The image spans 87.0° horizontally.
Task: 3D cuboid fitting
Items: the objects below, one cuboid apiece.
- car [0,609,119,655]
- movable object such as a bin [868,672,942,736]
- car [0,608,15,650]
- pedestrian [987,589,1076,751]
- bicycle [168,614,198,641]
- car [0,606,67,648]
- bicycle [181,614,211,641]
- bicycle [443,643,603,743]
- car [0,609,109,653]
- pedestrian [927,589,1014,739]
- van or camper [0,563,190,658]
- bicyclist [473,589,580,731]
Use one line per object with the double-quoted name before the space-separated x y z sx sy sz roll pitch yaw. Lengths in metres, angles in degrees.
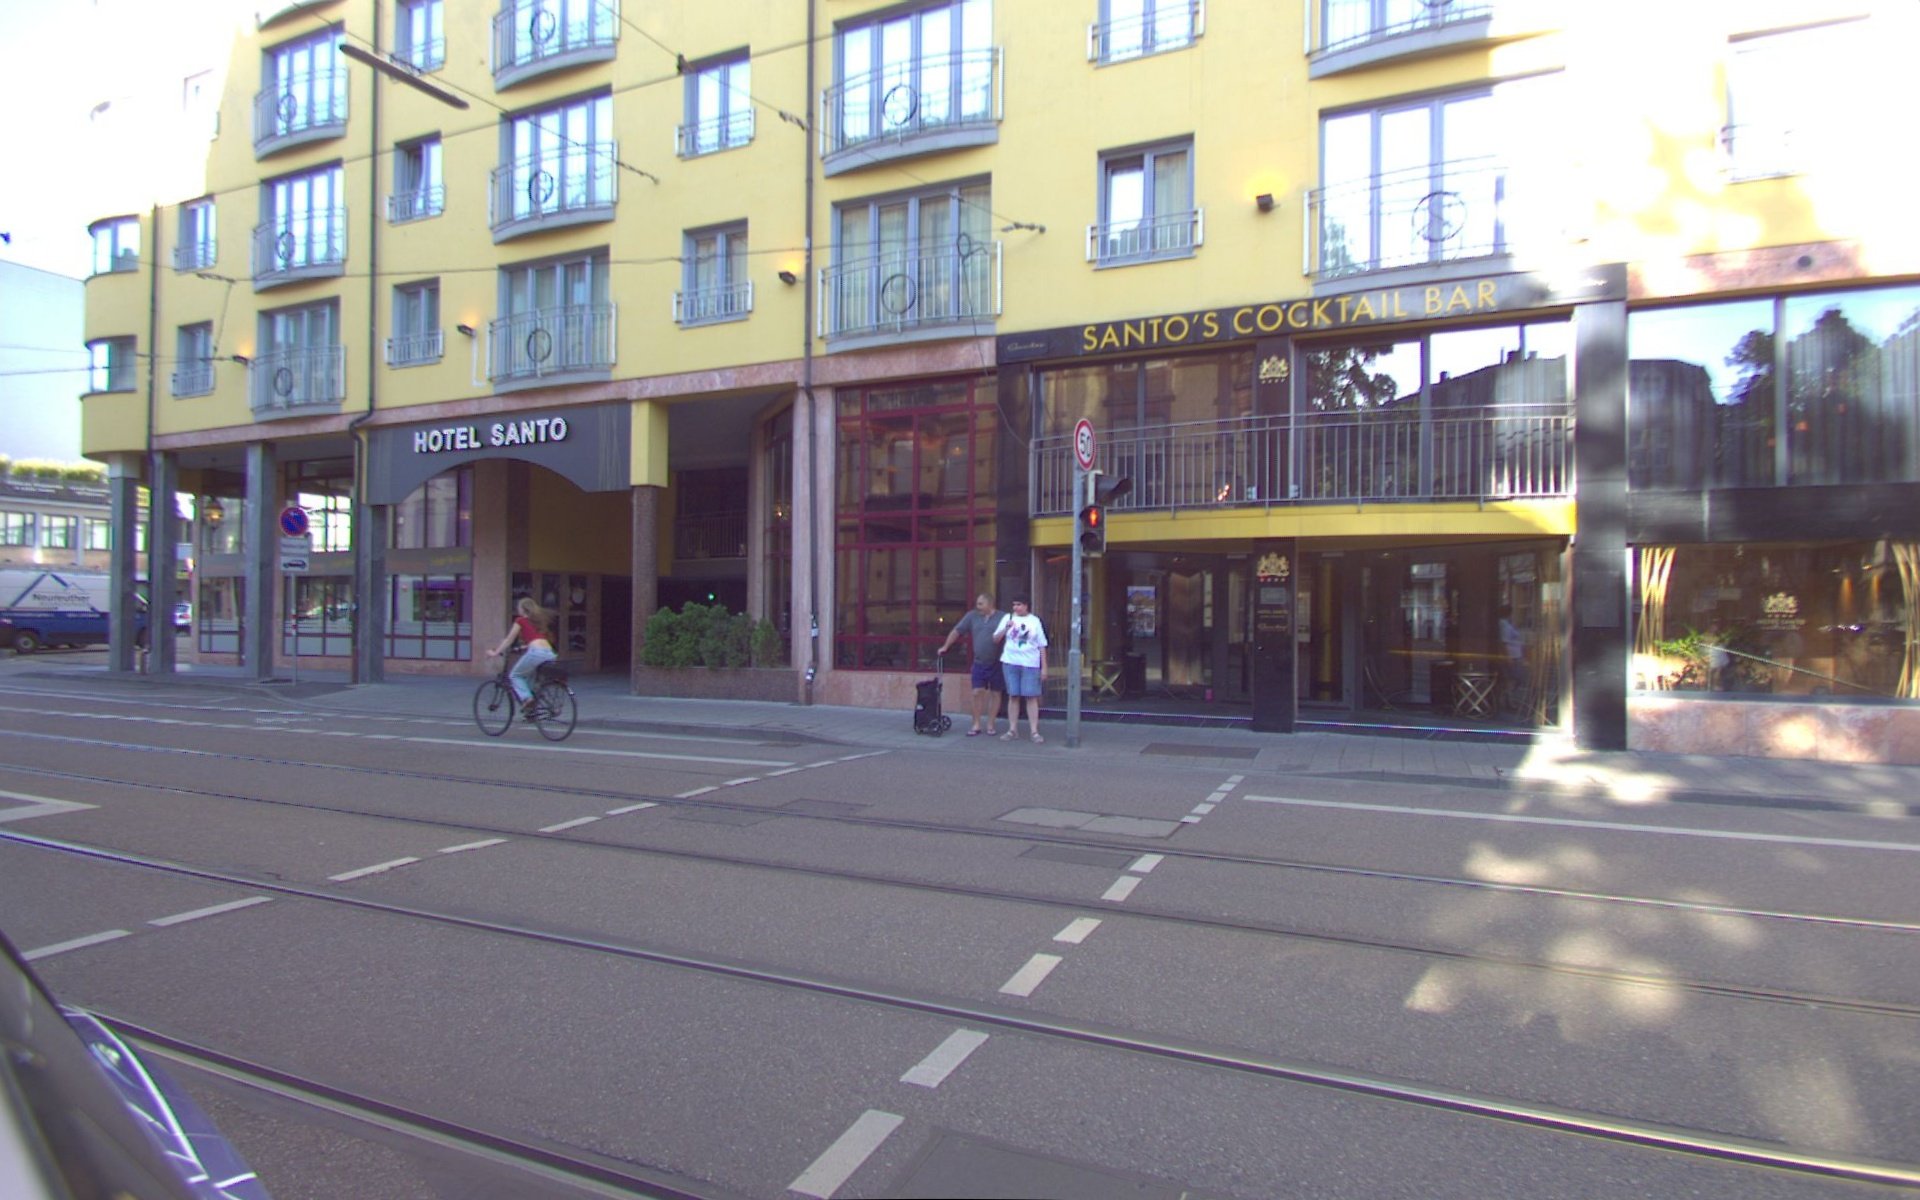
"car" -31.113 1.056 33.585 1.868 1.487 4.565 -1 -2 24
"movable object such as a bin" -0.699 1.313 12.875 0.836 0.721 0.381 -1 3 26
"car" -38.172 1.076 37.048 1.868 1.595 4.870 -1 -2 24
"pedestrian" 0.890 0.817 12.382 0.749 1.832 1.038 -1 3 23
"bicycle" -34.967 1.234 45.544 1.825 1.196 0.428 -1 -2 32
"car" -35.266 0.969 36.233 1.868 1.487 4.565 -1 -2 24
"bicycle" -34.718 1.237 45.959 1.825 1.196 0.428 -1 -2 32
"bicycle" -5.352 1.105 12.387 1.886 1.117 0.693 0 -1 23
"car" -33.075 1.090 35.532 1.868 1.487 4.565 -1 -2 24
"pedestrian" 0.138 0.777 12.710 0.796 1.784 0.743 -1 3 26
"van or camper" -28.773 0.384 32.834 2.302 2.849 5.577 -1 -2 25
"bicyclist" -5.291 0.709 12.371 0.984 1.656 0.698 0 -1 23
